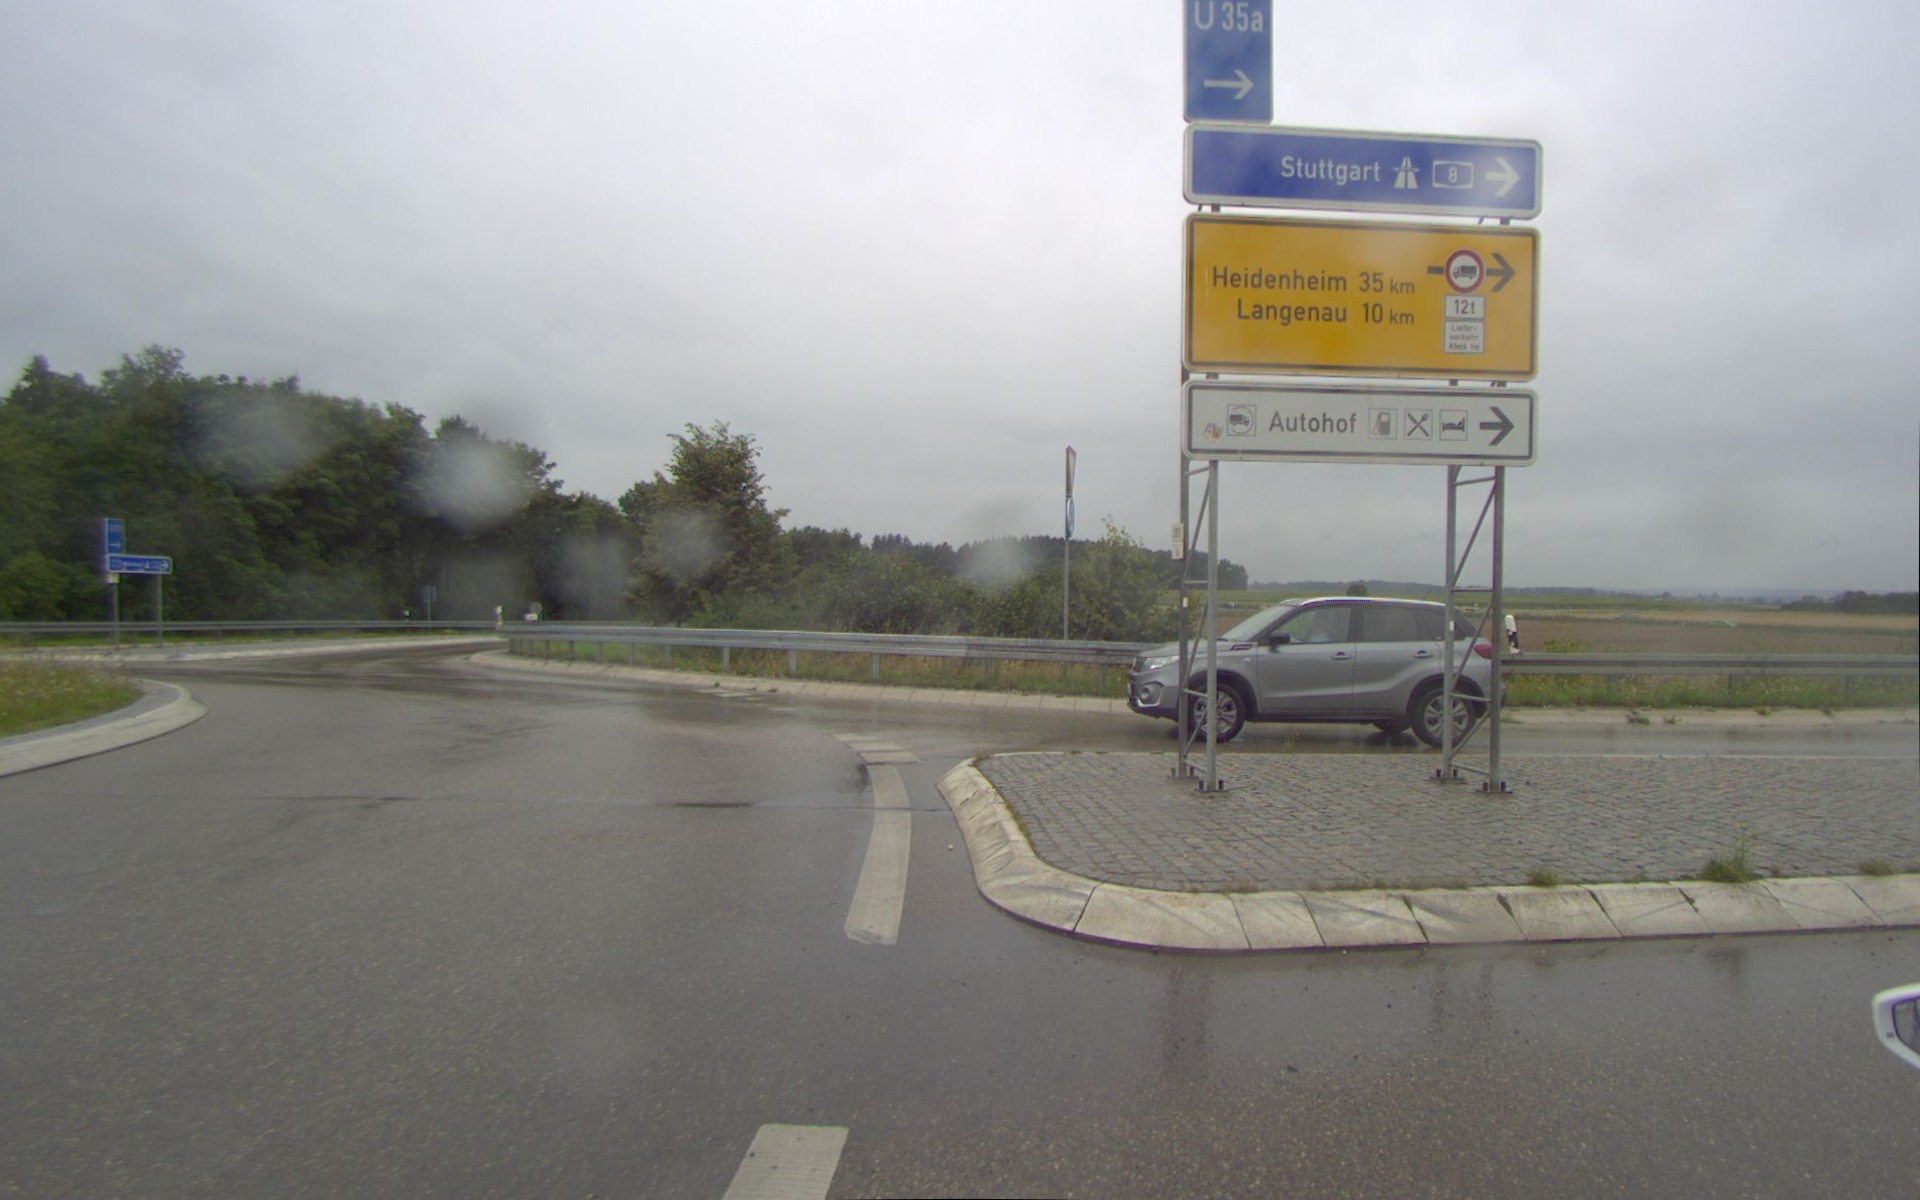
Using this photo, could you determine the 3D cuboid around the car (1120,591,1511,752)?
[{"bbox_3d":[3.926,0.750,11.695,3.919,1.596,1.807,1,1,5],"label":"car"}]
